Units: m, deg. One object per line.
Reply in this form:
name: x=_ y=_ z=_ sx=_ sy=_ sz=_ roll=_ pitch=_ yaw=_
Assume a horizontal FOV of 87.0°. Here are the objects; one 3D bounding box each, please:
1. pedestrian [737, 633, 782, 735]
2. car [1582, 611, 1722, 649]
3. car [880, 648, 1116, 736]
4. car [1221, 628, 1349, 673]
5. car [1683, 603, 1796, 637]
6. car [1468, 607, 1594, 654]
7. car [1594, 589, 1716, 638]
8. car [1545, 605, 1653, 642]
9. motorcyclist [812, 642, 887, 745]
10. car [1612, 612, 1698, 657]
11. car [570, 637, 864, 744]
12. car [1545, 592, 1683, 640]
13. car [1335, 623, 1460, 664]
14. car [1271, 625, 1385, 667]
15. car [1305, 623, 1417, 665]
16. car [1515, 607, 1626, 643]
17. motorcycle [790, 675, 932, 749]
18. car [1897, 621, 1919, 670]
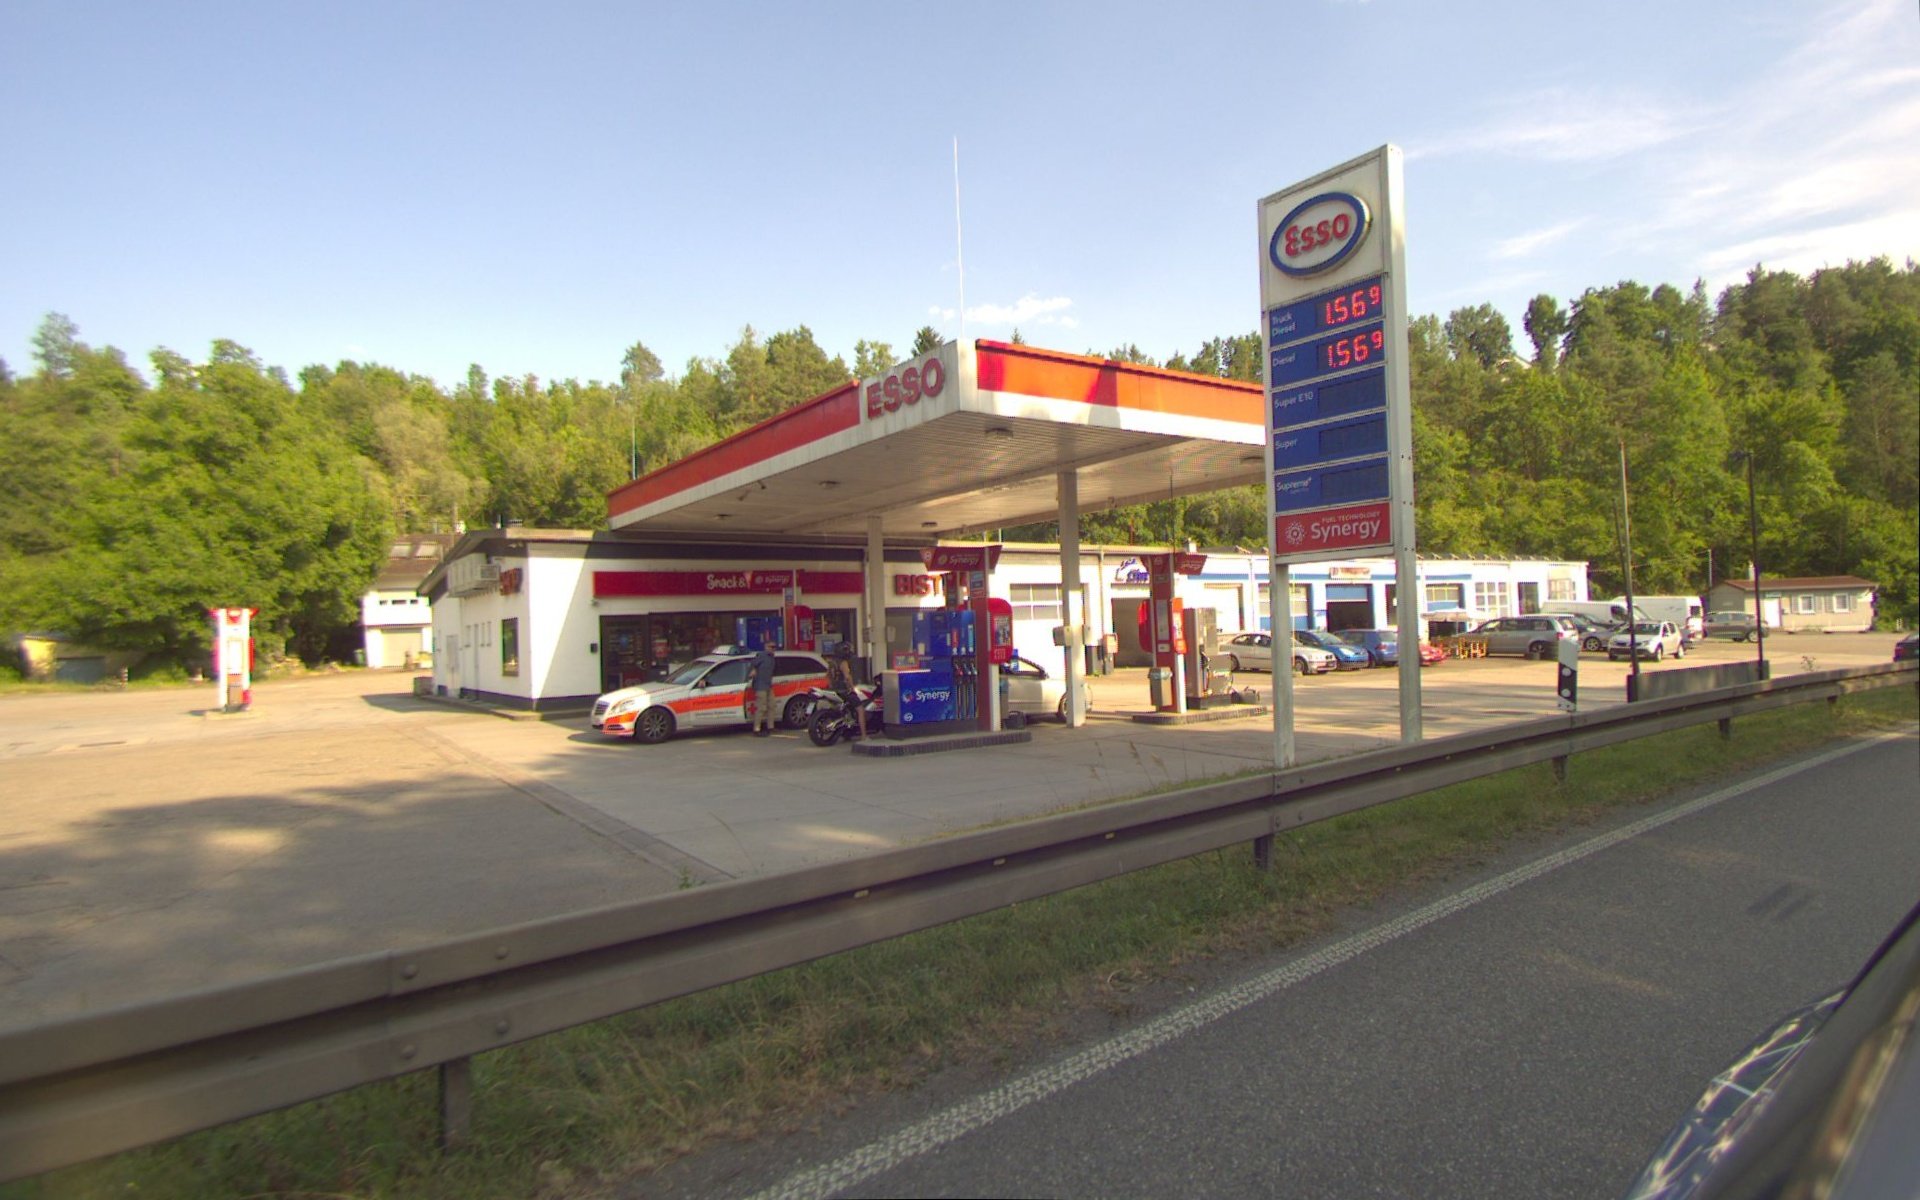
pedestrian: x=-3.640 y=1.511 z=18.408 sx=0.608 sy=1.800 sz=0.704 roll=-2 pitch=-2 yaw=3
car: x=30.350 y=1.291 z=44.512 sx=1.921 sy=1.452 sz=4.733 roll=0 pitch=1 yaw=-37
car: x=0.789 y=1.689 z=19.543 sx=4.306 sy=1.336 sz=1.848 roll=0 pitch=-1 yaw=-35
car: x=11.283 y=1.723 z=35.336 sx=1.745 sy=1.372 sz=3.965 roll=0 pitch=0 yaw=-39
car: x=41.716 y=1.059 z=54.274 sx=4.340 sy=1.691 sz=1.934 roll=1 pitch=-1 yaw=15
car: x=24.007 y=1.237 z=42.684 sx=1.857 sy=1.750 sz=4.259 roll=0 pitch=1 yaw=-37
car: x=36.681 y=0.654 z=53.539 sx=2.167 sy=2.480 sz=4.921 roll=0 pitch=0 yaw=-37
car: x=31.665 y=1.125 z=50.235 sx=1.888 sy=1.631 sz=4.173 roll=0 pitch=1 yaw=-35
motorcyclist: x=-1.847 y=1.536 z=16.907 sx=0.910 sy=1.625 sz=0.860 roll=0 pitch=-2 yaw=-36
car: x=27.636 y=1.331 z=40.209 sx=3.918 sy=1.616 sz=1.794 roll=-1 pitch=0 yaw=-39
car: x=-4.579 y=1.619 z=19.434 sx=5.083 sy=1.649 sz=2.098 roll=0 pitch=-1 yaw=-36
car: x=33.345 y=0.760 z=51.785 sx=2.252 sy=2.303 sz=5.491 roll=0 pitch=0 yaw=-35
car: x=16.880 y=1.633 z=39.214 sx=1.859 sy=1.365 sz=4.080 roll=0 pitch=0 yaw=-35
car: x=13.335 y=1.645 z=36.829 sx=1.659 sy=1.424 sz=3.561 roll=0 pitch=-1 yaw=-35
car: x=15.073 y=1.629 z=38.159 sx=1.701 sy=1.464 sz=3.554 roll=0 pitch=-1 yaw=-35
car: x=29.537 y=1.190 z=49.068 sx=1.859 sy=1.631 sz=4.253 roll=0 pitch=0 yaw=-35
motorcycle: x=-1.645 y=1.845 z=17.029 sx=2.297 sy=1.025 sz=0.764 roll=0 pitch=-2 yaw=-36
car: x=29.302 y=1.293 z=29.234 sx=4.184 sy=1.370 sz=1.832 roll=0 pitch=-1 yaw=-26
